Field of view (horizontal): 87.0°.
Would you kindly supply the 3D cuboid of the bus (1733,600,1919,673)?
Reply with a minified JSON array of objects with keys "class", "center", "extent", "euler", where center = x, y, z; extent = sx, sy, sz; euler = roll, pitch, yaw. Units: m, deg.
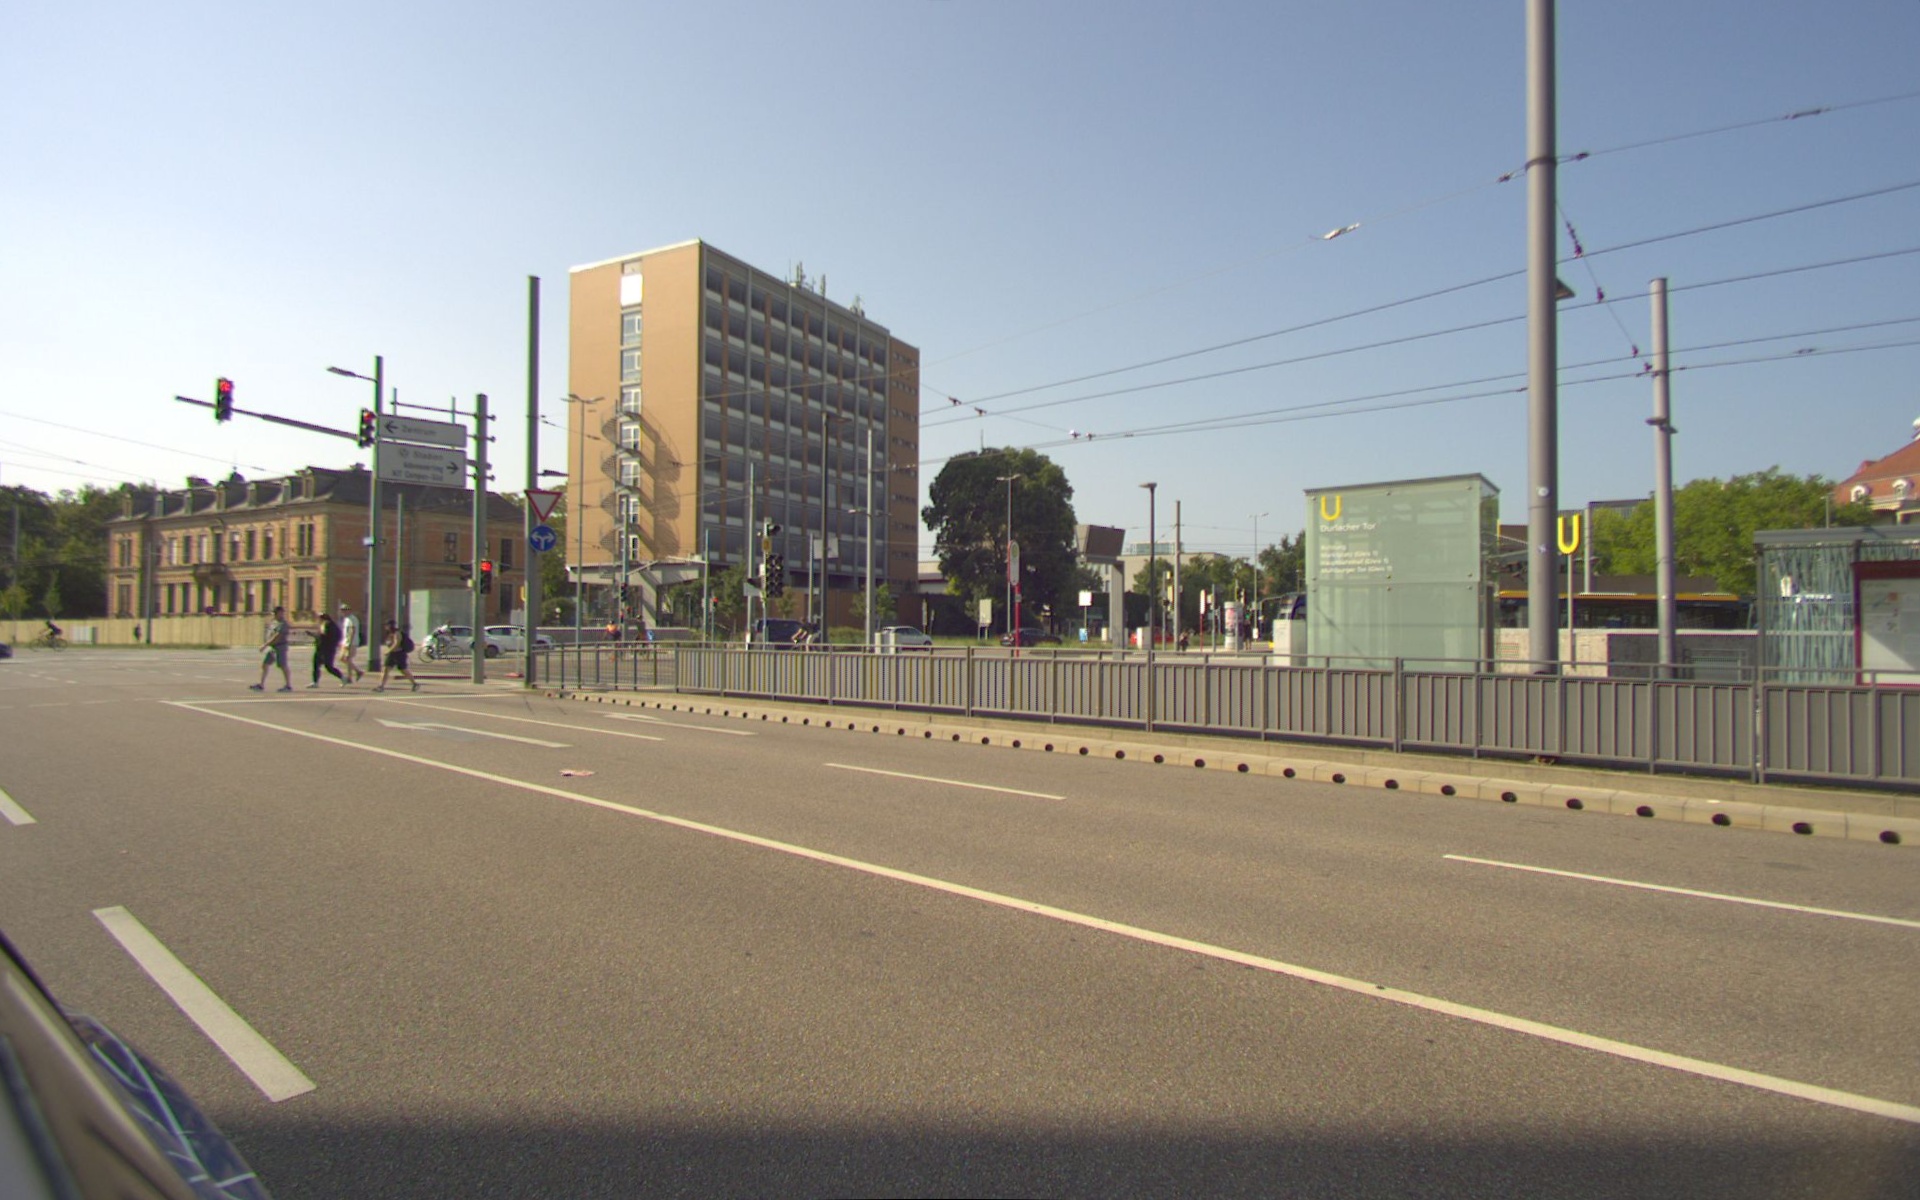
[{"class":"bus","center":[42.969,1.677,46.620],"extent":[13.107,3.203,3.230],"euler":[0,-2,-7]}]

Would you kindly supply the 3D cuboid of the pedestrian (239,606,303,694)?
[{"class":"pedestrian","center":[-13.685,1.001,20.108],"extent":[0.651,1.706,0.805],"euler":[-1,-5,41]}]

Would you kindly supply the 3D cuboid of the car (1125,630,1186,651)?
[{"class":"car","center":[13.339,2.746,69.150],"extent":[3.932,1.426,1.808],"euler":[1,-2,-32]}]

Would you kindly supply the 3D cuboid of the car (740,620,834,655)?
[{"class":"car","center":[-9.338,2.009,54.646],"extent":[4.690,1.842,1.809],"euler":[1,-2,-26]}]

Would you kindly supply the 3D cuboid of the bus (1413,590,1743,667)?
[{"class":"bus","center":[27.119,1.283,44.654],"extent":[13.109,3.203,3.230],"euler":[0,-2,-6]}]

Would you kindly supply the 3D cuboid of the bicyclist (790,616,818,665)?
[{"class":"bicyclist","center":[-5.315,1.377,34.490],"extent":[0.790,1.669,0.581],"euler":[-2,-3,42]}]

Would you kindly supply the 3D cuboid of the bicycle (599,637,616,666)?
[{"class":"bicycle","center":[-14.684,2.133,42.104],"extent":[0.306,1.174,1.503],"euler":[1,-3,-33]}]

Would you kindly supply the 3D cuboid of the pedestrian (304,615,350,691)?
[{"class":"pedestrian","center":[-13.606,1.140,21.749],"extent":[0.467,1.610,0.626],"euler":[-1,-5,39]}]

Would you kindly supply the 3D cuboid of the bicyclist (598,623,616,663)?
[{"class":"bicyclist","center":[-14.675,1.793,42.063],"extent":[0.503,1.642,0.810],"euler":[1,-3,-34]}]

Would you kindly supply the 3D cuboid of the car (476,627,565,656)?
[{"class":"car","center":[-21.991,2.079,50.678],"extent":[3.931,1.426,1.809],"euler":[1,-2,-28]}]

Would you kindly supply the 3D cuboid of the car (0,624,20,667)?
[{"class":"car","center":[-38.549,1.712,38.264],"extent":[3.930,1.608,2.006],"euler":[1,-2,-26]}]

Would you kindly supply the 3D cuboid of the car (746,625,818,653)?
[{"class":"car","center":[-11.621,2.561,66.058],"extent":[4.217,1.720,1.957],"euler":[1,-4,-33]}]

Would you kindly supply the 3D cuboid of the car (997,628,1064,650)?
[{"class":"car","center":[4.776,2.618,68.416],"extent":[4.276,1.463,1.809],"euler":[1,-2,-30]}]

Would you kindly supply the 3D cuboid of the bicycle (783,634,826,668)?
[{"class":"bicycle","center":[-5.314,1.728,34.482],"extent":[1.745,1.118,0.397],"euler":[-1,-3,40]}]

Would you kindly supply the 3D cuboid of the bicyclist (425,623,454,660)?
[{"class":"bicyclist","center":[-21.248,1.688,41.345],"extent":[0.955,1.486,1.091],"euler":[1,-2,-24]}]

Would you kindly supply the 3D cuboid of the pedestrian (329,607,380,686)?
[{"class":"pedestrian","center":[-14.275,1.101,23.869],"extent":[0.822,1.802,0.730],"euler":[5,-5,-41]}]

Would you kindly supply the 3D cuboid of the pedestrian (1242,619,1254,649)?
[{"class":"pedestrian","center":[17.186,2.023,60.383],"extent":[0.551,1.782,0.403],"euler":[0,-2,-3]}]

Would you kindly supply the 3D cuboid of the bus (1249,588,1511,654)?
[{"class":"bus","center":[22.784,1.199,55.188],"extent":[13.113,3.445,3.229],"euler":[0,-2,-5]}]

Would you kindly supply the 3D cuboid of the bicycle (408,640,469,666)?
[{"class":"bicycle","center":[-21.274,2.174,41.357],"extent":[2.159,0.997,0.531],"euler":[2,-2,-24]}]

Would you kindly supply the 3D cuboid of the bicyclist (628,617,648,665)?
[{"class":"bicyclist","center":[-13.650,1.736,42.878],"extent":[0.571,1.989,0.809],"euler":[1,-3,-34]}]

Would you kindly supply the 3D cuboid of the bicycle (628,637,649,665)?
[{"class":"bicycle","center":[-13.681,2.158,43.062],"extent":[0.371,1.174,1.864],"euler":[1,-3,-33]}]

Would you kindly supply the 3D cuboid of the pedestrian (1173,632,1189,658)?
[{"class":"pedestrian","center":[10.873,2.213,49.764],"extent":[0.549,1.302,0.769],"euler":[0,-2,-6]}]

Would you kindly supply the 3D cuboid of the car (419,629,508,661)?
[{"class":"car","center":[-22.823,2.055,46.514],"extent":[3.553,1.426,1.809],"euler":[1,-2,-29]}]

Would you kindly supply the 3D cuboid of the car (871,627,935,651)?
[{"class":"car","center":[-3.517,2.398,62.172],"extent":[3.495,1.446,1.809],"euler":[1,-2,-29]}]

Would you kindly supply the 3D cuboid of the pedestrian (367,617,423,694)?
[{"class":"pedestrian","center":[-11.640,1.146,20.861],"extent":[0.548,1.560,0.799],"euler":[-1,-5,42]}]

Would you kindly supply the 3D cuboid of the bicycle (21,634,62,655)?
[{"class":"bicycle","center":[-54.657,2.654,60.212],"extent":[1.742,1.203,0.403],"euler":[1,-2,-27]}]
